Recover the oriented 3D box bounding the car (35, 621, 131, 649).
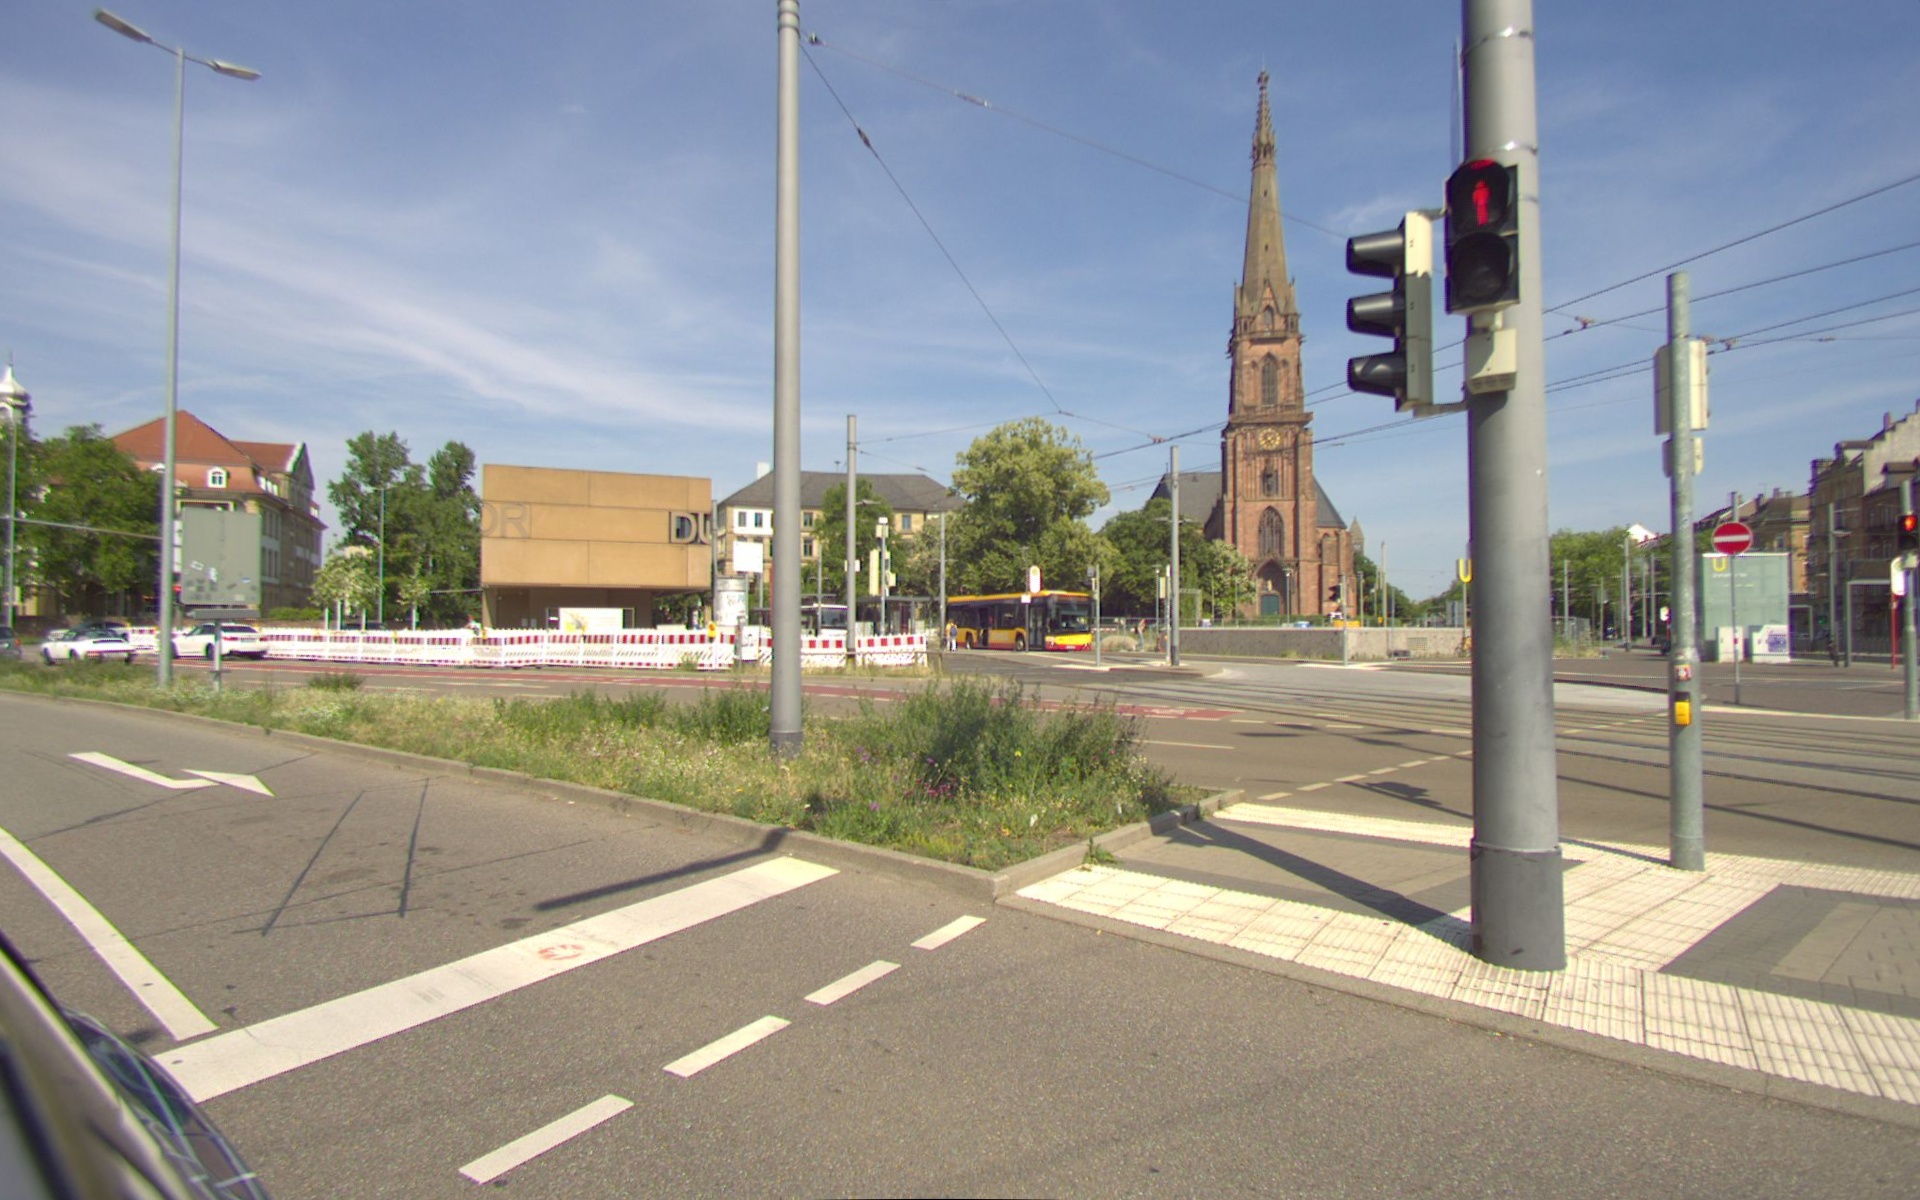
[{"bbox_3d":[-52.419,2.072,60.579,1.742,1.454,4.095,-1,0,14],"label":"car"}]

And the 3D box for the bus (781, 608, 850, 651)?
[{"bbox_3d":[-12.270,2.505,84.793,2.710,3.348,11.827,1,-2,-23],"label":"bus"}]

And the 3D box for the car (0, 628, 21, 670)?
[{"bbox_3d":[-31.824,1.560,32.268,3.981,1.296,1.584,-1,0,28],"label":"car"}]

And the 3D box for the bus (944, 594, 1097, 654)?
[{"bbox_3d":[2.701,1.110,51.696,2.710,2.703,11.828,-1,0,-24],"label":"bus"}]

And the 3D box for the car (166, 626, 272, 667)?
[{"bbox_3d":[-28.763,1.766,39.249,3.981,1.431,1.786,-1,0,28],"label":"car"}]

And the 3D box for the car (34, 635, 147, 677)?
[{"bbox_3d":[-29.629,1.866,34.473,3.981,1.296,1.584,-1,0,28],"label":"car"}]

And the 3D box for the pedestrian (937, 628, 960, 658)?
[{"bbox_3d":[-0.528,1.999,47.087,0.911,1.377,0.532,-1,0,39],"label":"pedestrian"}]
